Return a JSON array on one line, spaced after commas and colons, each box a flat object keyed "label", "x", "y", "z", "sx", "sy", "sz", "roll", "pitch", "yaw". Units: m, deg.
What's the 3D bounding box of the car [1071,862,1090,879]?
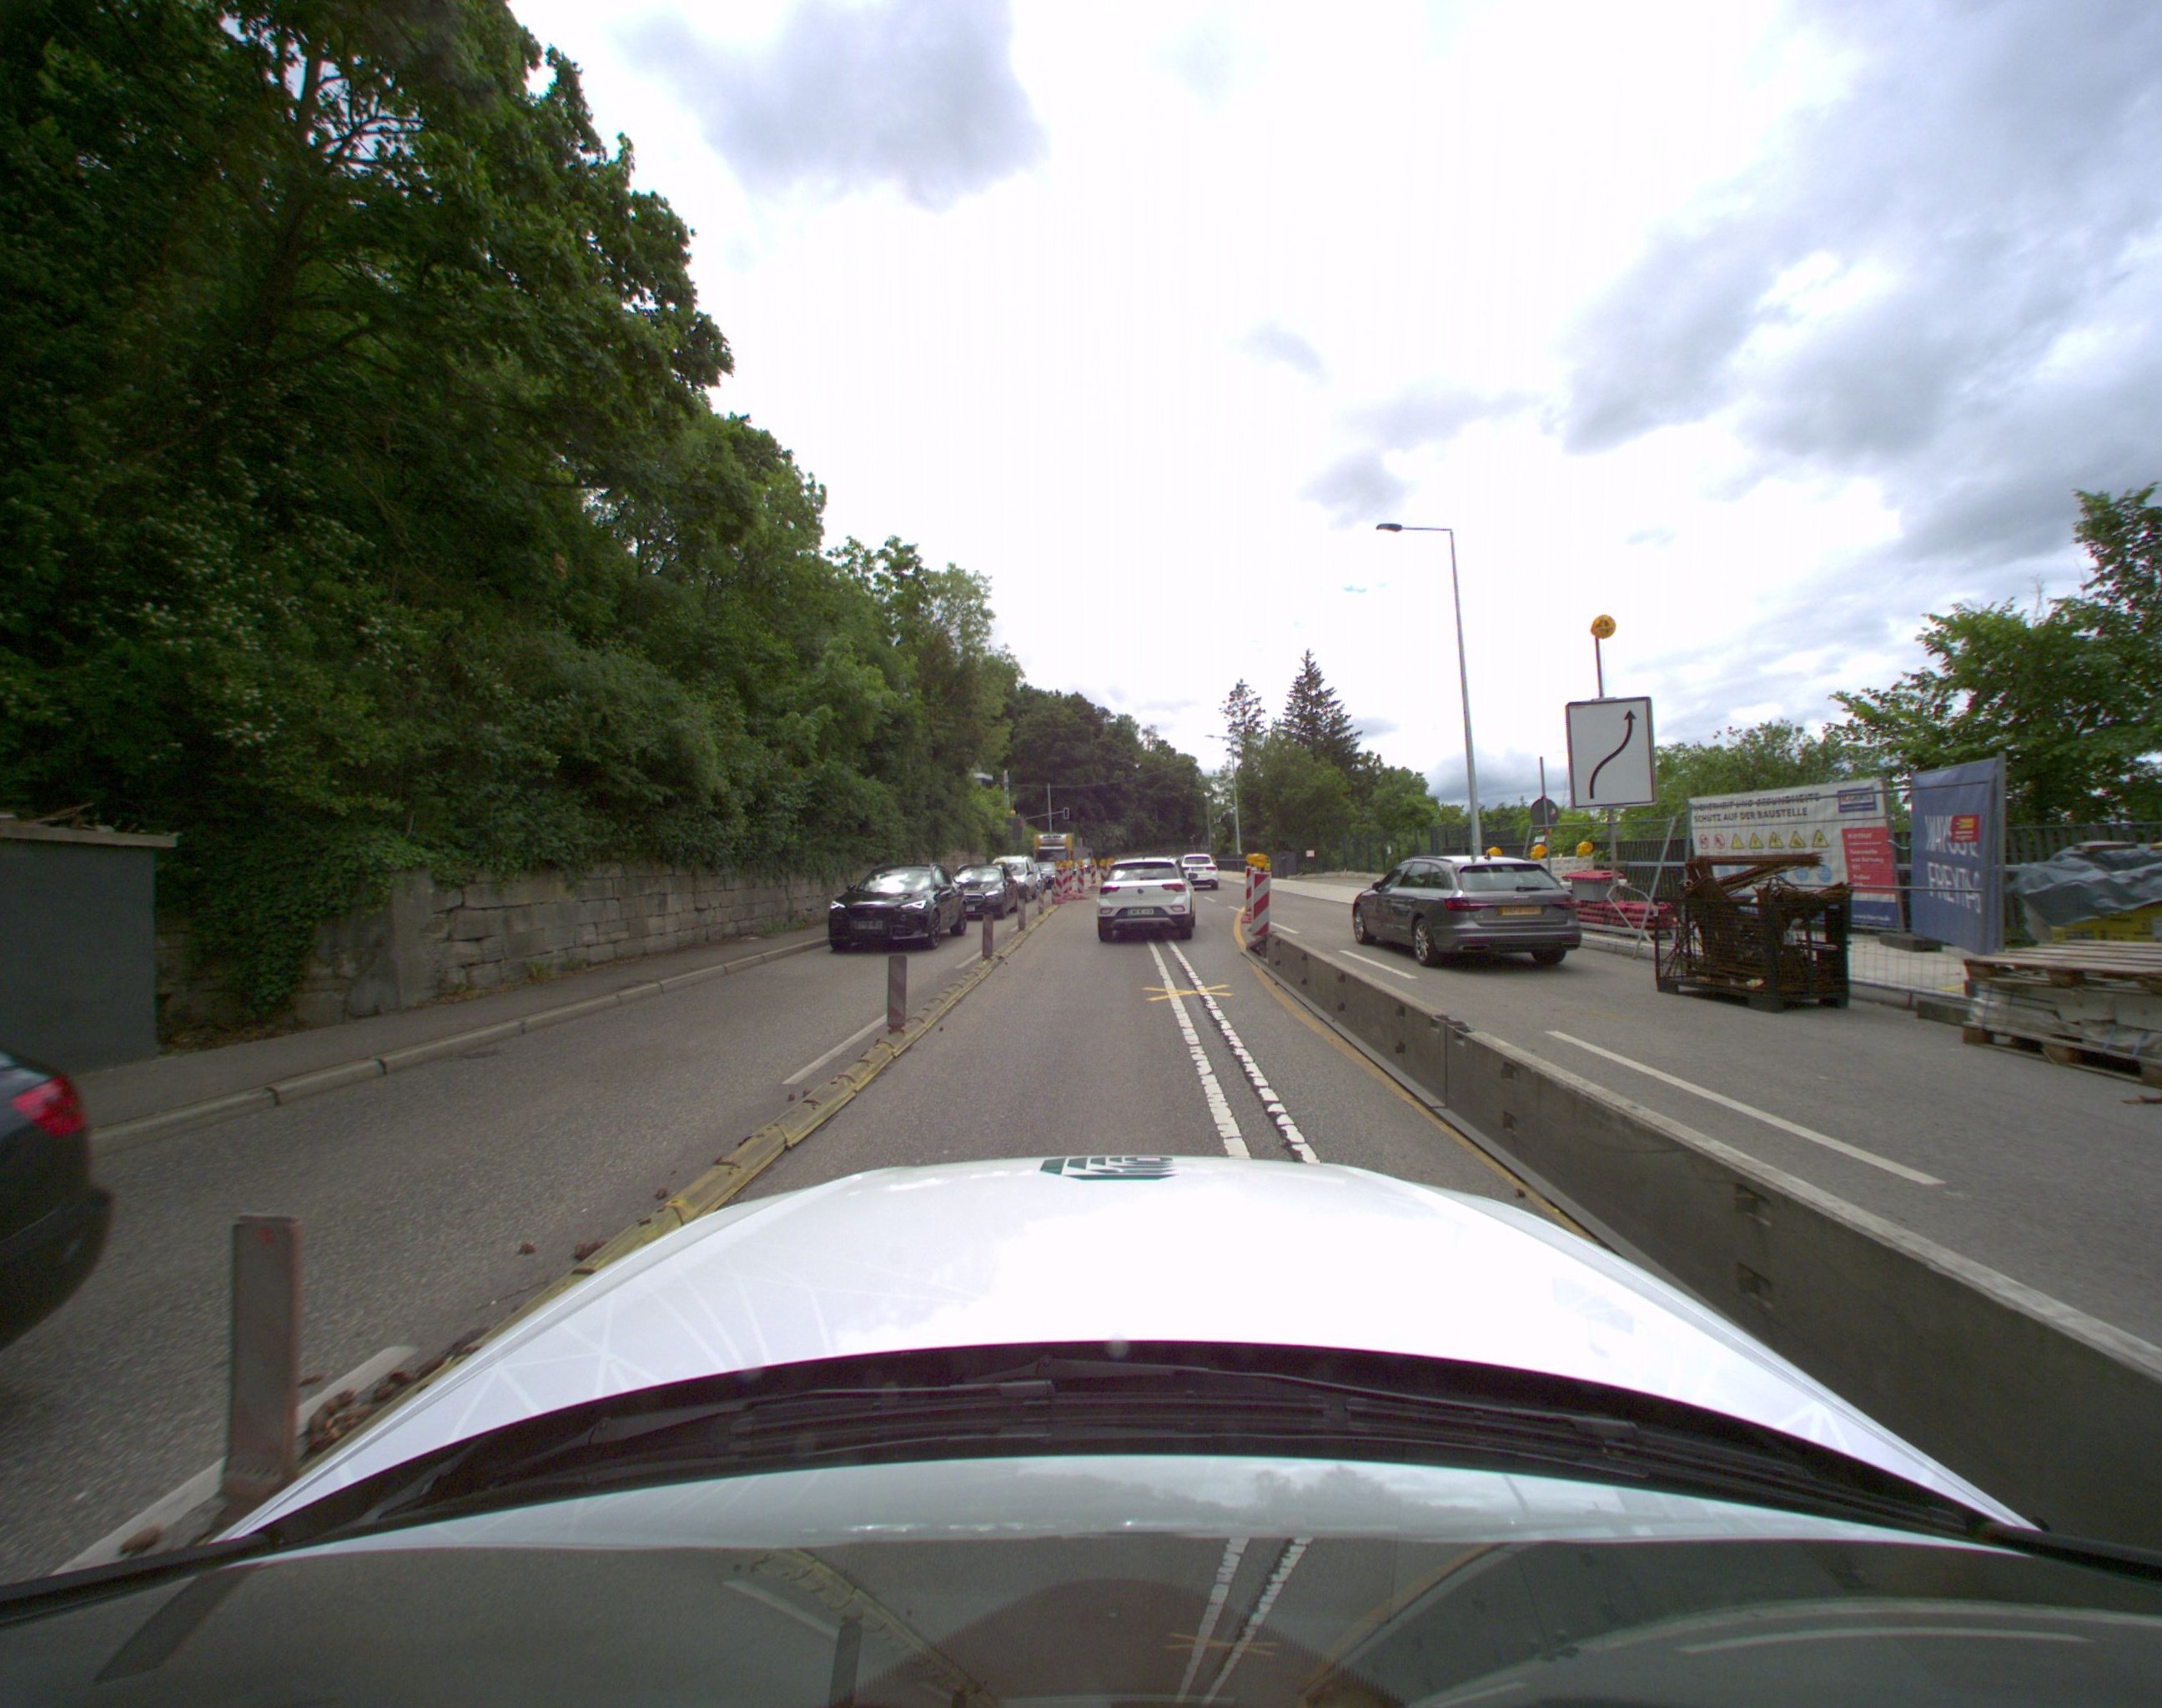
[{"label": "car", "x": -0.017, "y": 1.771, "z": 88.580, "sx": 1.876, "sy": 1.697, "sz": 4.673, "roll": -2, "pitch": 0, "yaw": 2}]

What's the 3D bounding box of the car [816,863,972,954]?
[{"label": "car", "x": -3.379, "y": 0.923, "z": 15.627, "sx": 1.821, "sy": 1.485, "sz": 4.320, "roll": 0, "pitch": -1, "yaw": 2}]

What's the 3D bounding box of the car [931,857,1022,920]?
[{"label": "car", "x": -2.886, "y": 0.920, "z": 23.412, "sx": 1.824, "sy": 1.592, "sz": 4.657, "roll": -1, "pitch": -1, "yaw": 2}]

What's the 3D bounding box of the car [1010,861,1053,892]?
[{"label": "car", "x": -2.465, "y": 1.103, "z": 41.187, "sx": 1.785, "sy": 1.507, "sz": 4.312, "roll": -1, "pitch": -1, "yaw": 1}]

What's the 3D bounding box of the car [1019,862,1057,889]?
[{"label": "car", "x": -2.422, "y": 1.185, "z": 46.536, "sx": 1.764, "sy": 1.441, "sz": 4.747, "roll": -1, "pitch": -1, "yaw": 2}]

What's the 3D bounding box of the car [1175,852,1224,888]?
[{"label": "car", "x": 5.431, "y": 0.722, "z": 37.759, "sx": 1.984, "sy": 1.586, "sz": 4.005, "roll": -1, "pitch": -1, "yaw": 5}]

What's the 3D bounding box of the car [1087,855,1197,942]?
[{"label": "car", "x": 1.342, "y": 0.799, "z": 16.436, "sx": 1.856, "sy": 1.536, "sz": 3.813, "roll": -1, "pitch": 0, "yaw": 9}]

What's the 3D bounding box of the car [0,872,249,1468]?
[{"label": "car", "x": -3.624, "y": 0.787, "z": 0.361, "sx": 1.784, "sy": 1.464, "sz": 4.511, "roll": -1, "pitch": 0, "yaw": 2}]

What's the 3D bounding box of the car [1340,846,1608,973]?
[{"label": "car", "x": 5.372, "y": 0.670, "z": 11.927, "sx": 1.833, "sy": 1.455, "sz": 4.630, "roll": -1, "pitch": 0, "yaw": 2}]

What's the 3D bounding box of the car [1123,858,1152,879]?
[{"label": "car", "x": 4.448, "y": 1.163, "z": 64.425, "sx": 1.901, "sy": 1.574, "sz": 3.997, "roll": -1, "pitch": -1, "yaw": -2}]

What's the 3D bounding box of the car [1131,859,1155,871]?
[{"label": "car", "x": 8.149, "y": 1.447, "z": 106.909, "sx": 1.889, "sy": 1.574, "sz": 4.023, "roll": -1, "pitch": -1, "yaw": 26}]

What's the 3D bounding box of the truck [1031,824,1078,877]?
[{"label": "truck", "x": -1.792, "y": -0.192, "z": 59.001, "sx": 2.720, "sy": 3.510, "sz": 7.354, "roll": -2, "pitch": -1, "yaw": 2}]

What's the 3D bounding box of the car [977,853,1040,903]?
[{"label": "car", "x": -2.737, "y": 0.898, "z": 31.685, "sx": 1.795, "sy": 1.790, "sz": 4.345, "roll": -1, "pitch": -1, "yaw": 3}]

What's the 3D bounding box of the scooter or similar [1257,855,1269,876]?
[{"label": "scooter or similar", "x": 10.993, "y": 0.698, "z": 49.219, "sx": 0.531, "sy": 1.226, "sz": 1.209, "roll": -4, "pitch": 0, "yaw": 8}]
